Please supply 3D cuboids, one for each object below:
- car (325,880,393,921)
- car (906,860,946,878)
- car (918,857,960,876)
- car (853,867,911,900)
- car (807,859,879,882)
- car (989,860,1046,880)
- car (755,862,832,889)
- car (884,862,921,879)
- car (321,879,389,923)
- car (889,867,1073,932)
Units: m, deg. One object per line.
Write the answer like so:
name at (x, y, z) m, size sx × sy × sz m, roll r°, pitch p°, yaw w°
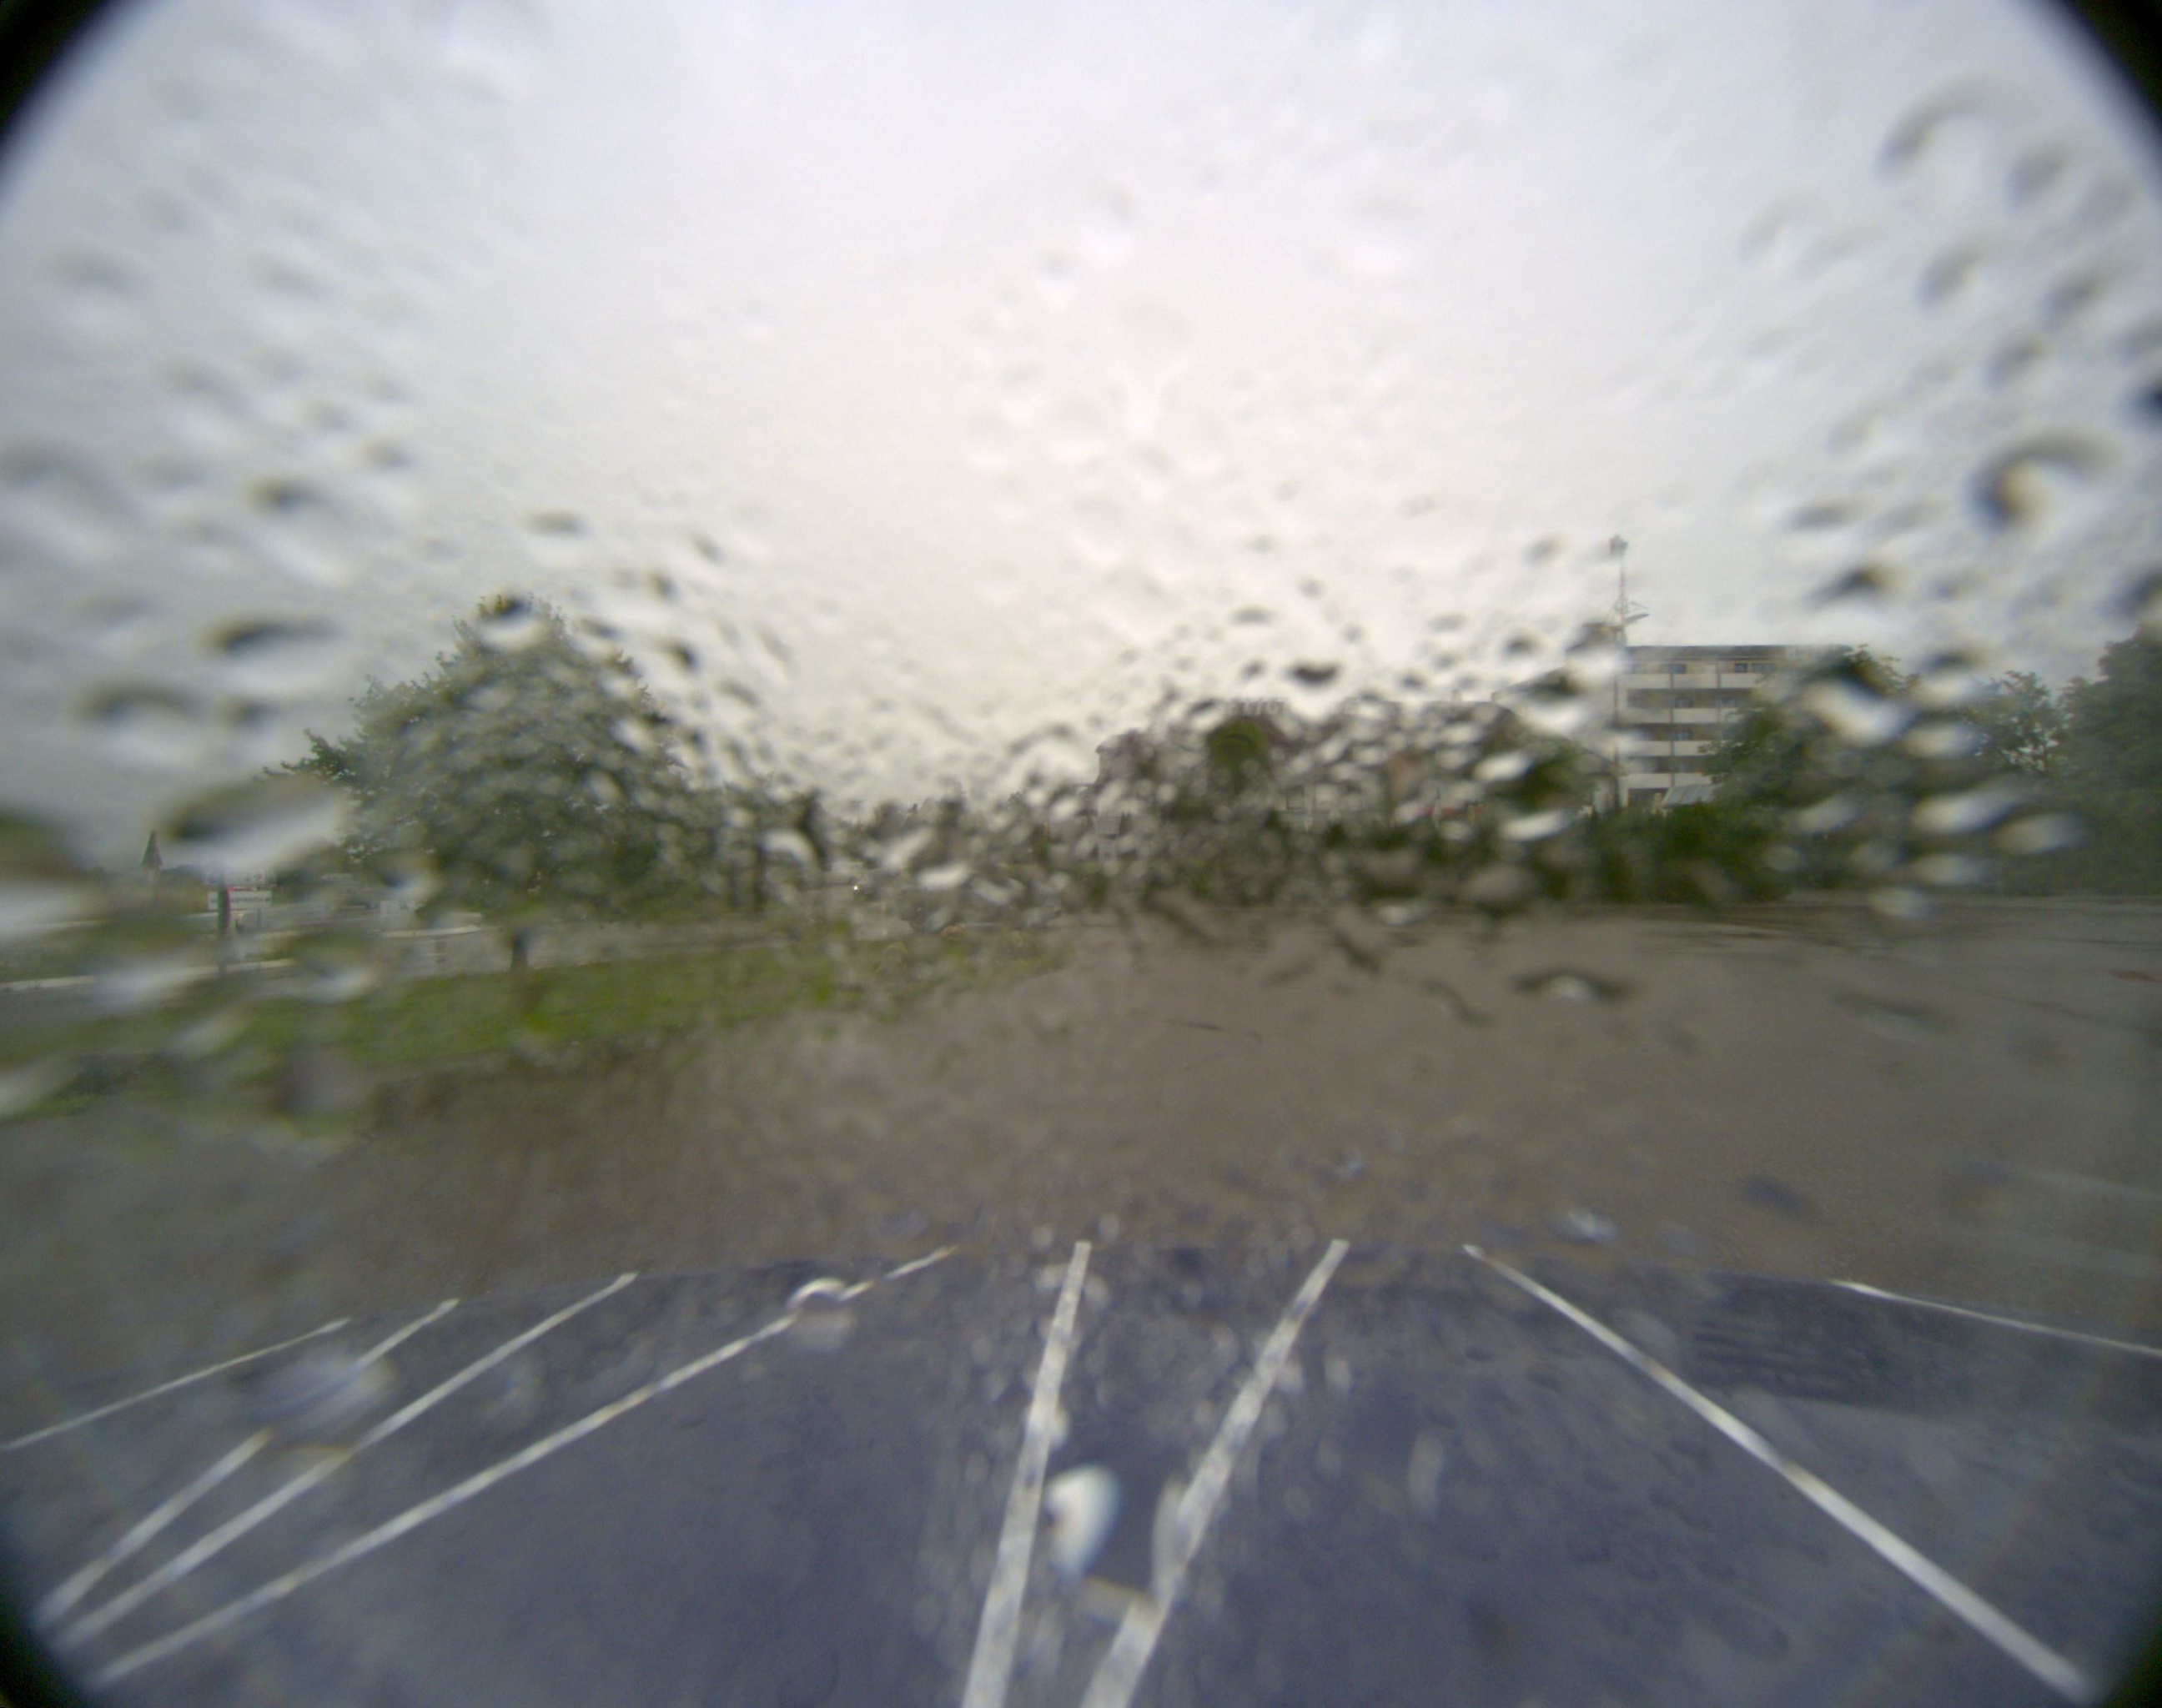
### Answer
car at (-39.113, 2.467, 41.252) m, size 2.003 × 2.002 × 3.990 m, roll -3°, pitch 0°, yaw -35°
car at (-15.454, 1.495, 75.617) m, size 3.878 × 1.560 × 1.753 m, roll -3°, pitch 0°, yaw 38°
car at (-14.535, 1.281, 77.888) m, size 3.989 × 1.717 × 1.994 m, roll -3°, pitch 0°, yaw 37°
car at (-10.083, 1.469, 38.797) m, size 1.705 × 1.416 × 4.360 m, roll -2°, pitch 0°, yaw 1°
car at (-19.992, 1.377, 64.038) m, size 5.375 × 1.711 × 2.000 m, roll -3°, pitch 0°, yaw -2°
car at (-5.020, 1.240, 60.298) m, size 4.358 × 1.416 × 1.850 m, roll -2°, pitch 0°, yaw -3°
car at (-20.377, 1.515, 54.012) m, size 4.607 × 1.711 × 2.000 m, roll -3°, pitch 0°, yaw -2°
car at (-17.350, 1.593, 73.882) m, size 3.716 × 1.540 × 1.670 m, roll -3°, pitch 0°, yaw 43°
car at (-39.228, 2.501, 41.177) m, size 2.004 × 2.002 × 3.989 m, roll -1°, pitch 2°, yaw -34°
car at (-2.708, 1.231, 20.778) m, size 4.491 × 1.565 × 2.003 m, roll -2°, pitch 0°, yaw 18°
